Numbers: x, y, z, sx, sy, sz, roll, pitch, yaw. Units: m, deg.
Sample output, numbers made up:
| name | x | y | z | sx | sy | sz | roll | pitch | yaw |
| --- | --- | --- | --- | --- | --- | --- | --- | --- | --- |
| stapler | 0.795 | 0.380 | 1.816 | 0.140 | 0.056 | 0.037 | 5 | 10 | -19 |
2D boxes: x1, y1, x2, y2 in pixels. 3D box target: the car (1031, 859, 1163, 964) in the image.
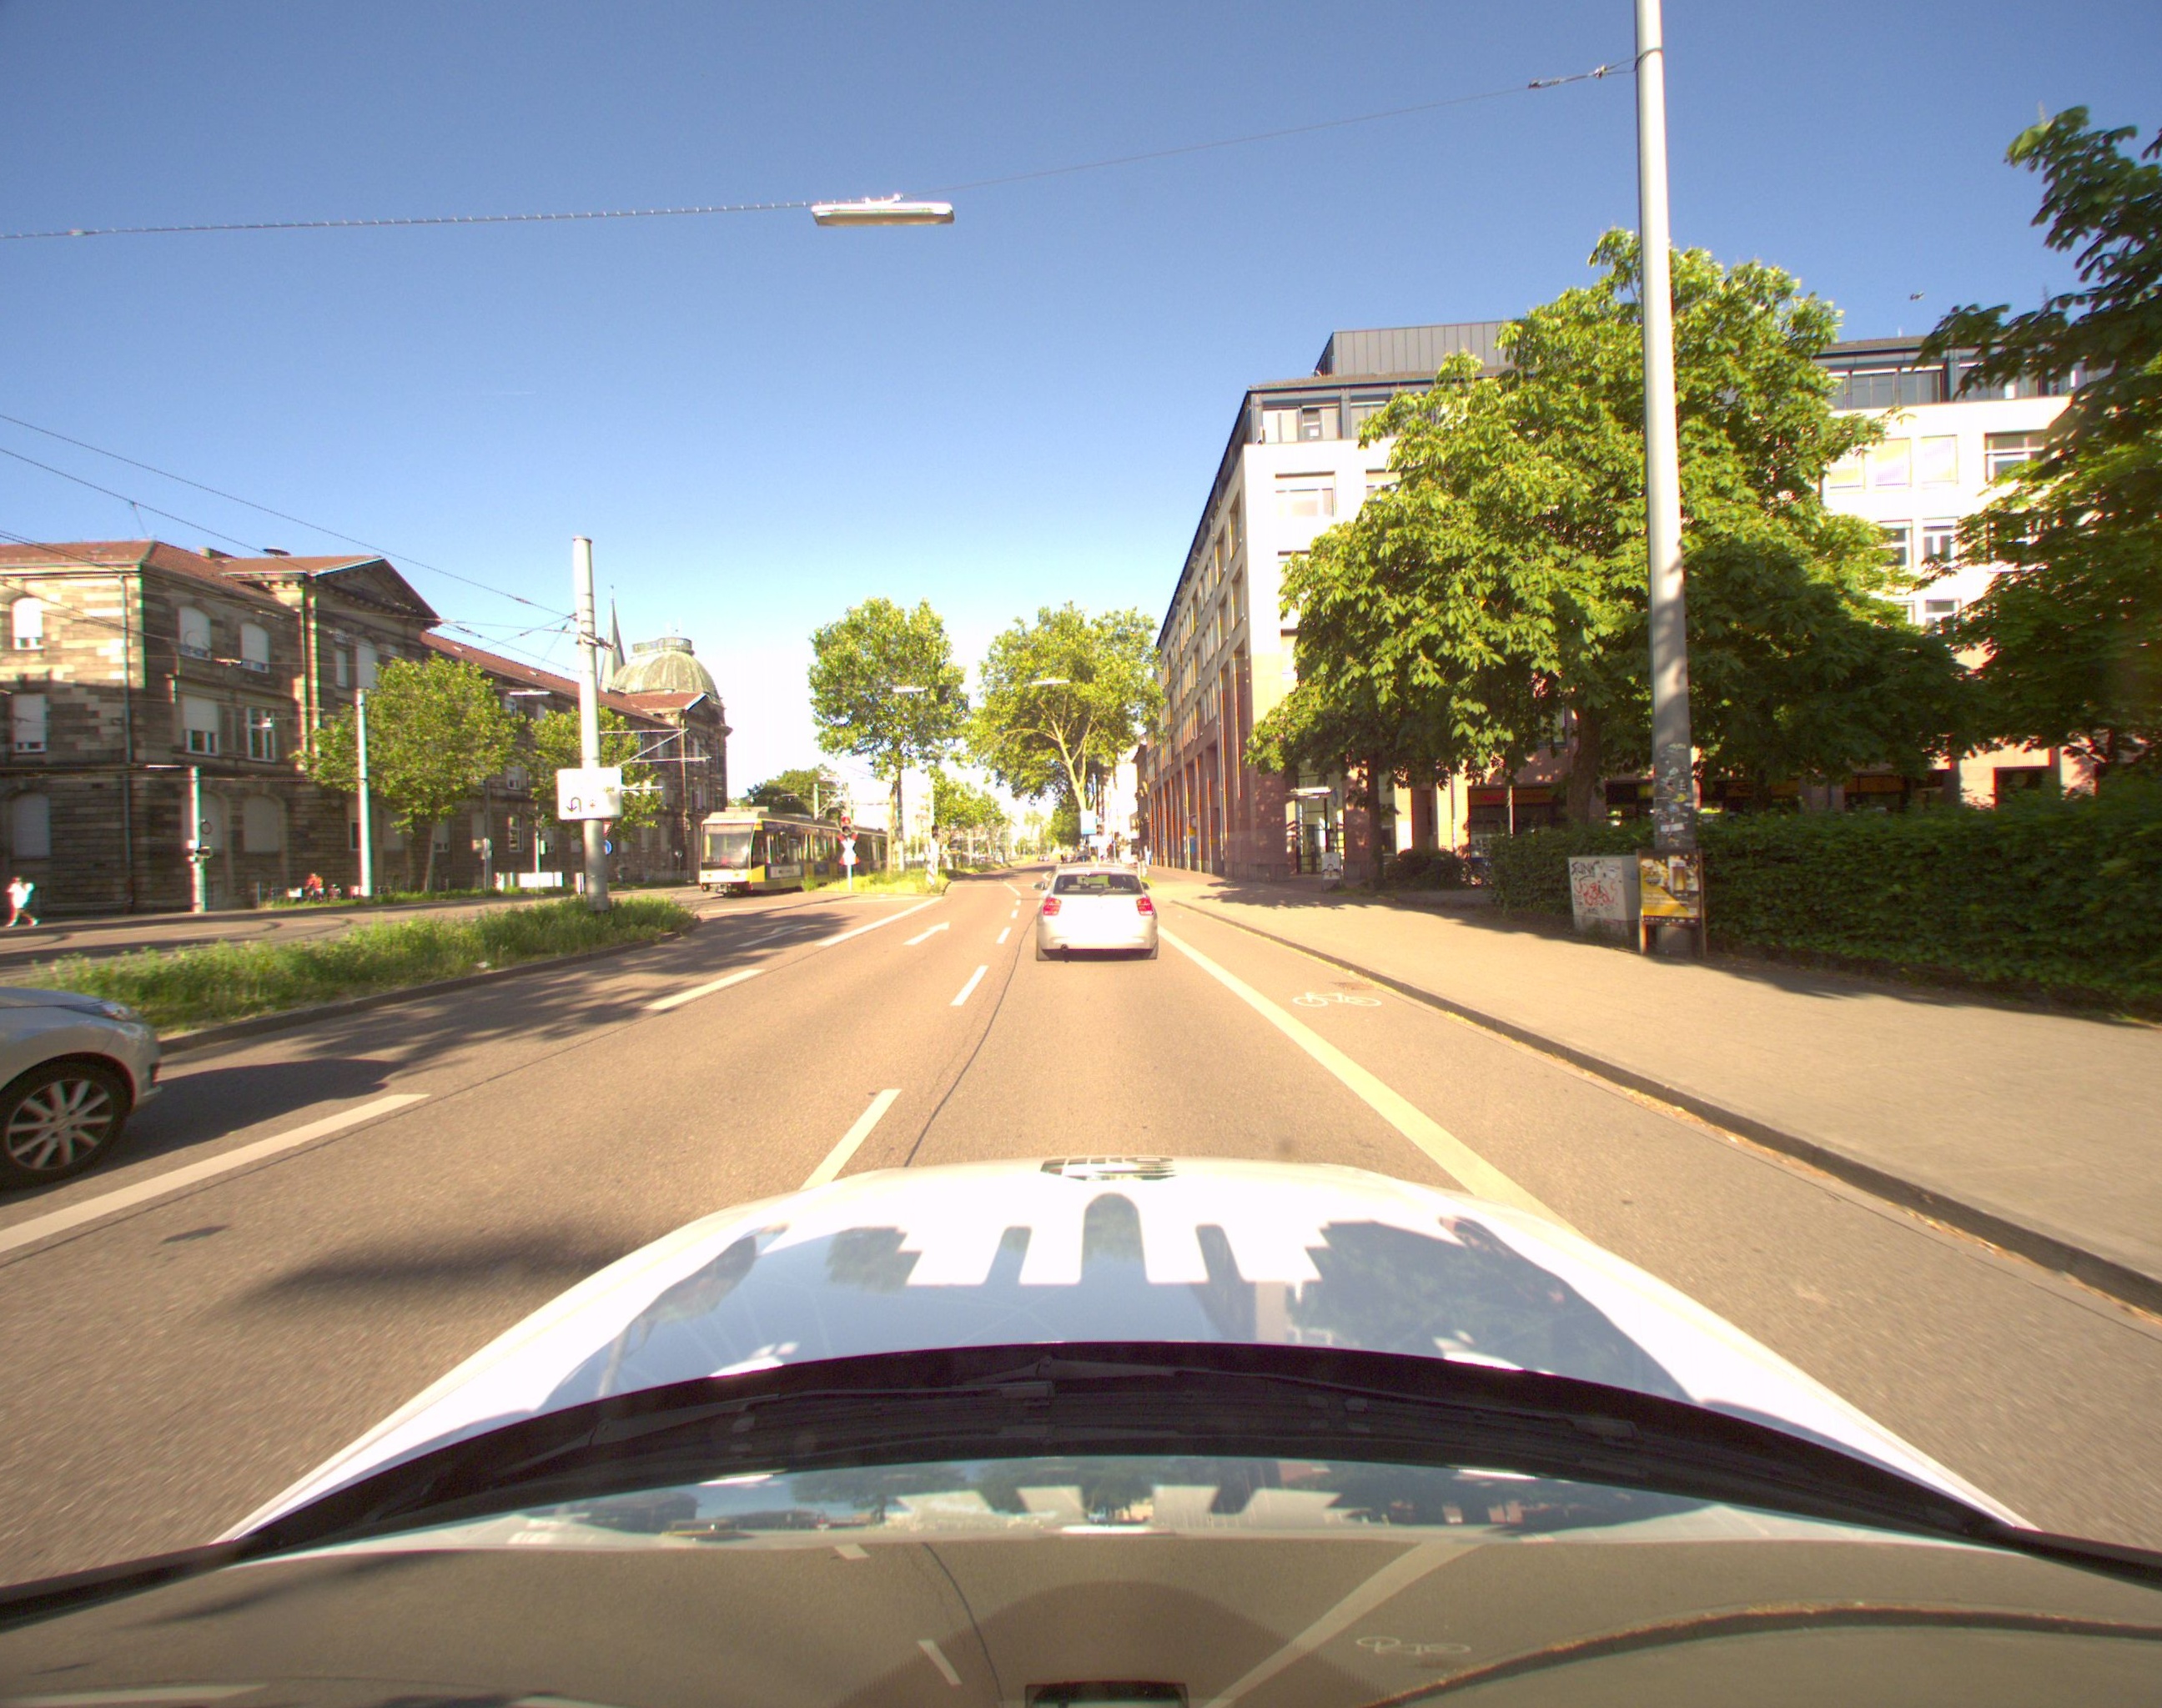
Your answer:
| name | x | y | z | sx | sy | sz | roll | pitch | yaw |
| --- | --- | --- | --- | --- | --- | --- | --- | --- | --- |
| car | 0.242 | 0.801 | 13.092 | 1.792 | 1.415 | 4.000 | 0 | 0 | 1 |

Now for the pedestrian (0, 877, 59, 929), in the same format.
| name | x | y | z | sx | sy | sz | roll | pitch | yaw |
| --- | --- | --- | --- | --- | --- | --- | --- | --- | --- |
| pedestrian | -37.589 | 1.720 | 29.083 | 0.859 | 1.800 | 1.002 | 0 | 0 | 1 |

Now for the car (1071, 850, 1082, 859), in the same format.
| name | x | y | z | sx | sy | sz | roll | pitch | yaw |
| --- | --- | --- | --- | --- | --- | --- | --- | --- | --- |
| car | -0.870 | 0.056 | 152.135 | 2.032 | 1.509 | 4.593 | -1 | 0 | 0 |

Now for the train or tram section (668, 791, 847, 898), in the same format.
| name | x | y | z | sx | sy | sz | roll | pitch | yaw |
| --- | --- | --- | --- | --- | --- | --- | --- | --- | --- |
| train or tram section | -13.541 | -0.307 | 36.110 | 2.922 | 3.812 | 14.257 | 0 | 0 | -3 |

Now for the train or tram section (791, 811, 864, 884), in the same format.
| name | x | y | z | sx | sy | sz | roll | pitch | yaw |
| --- | --- | --- | --- | --- | --- | --- | --- | --- | --- |
| train or tram section | -13.981 | -0.331 | 45.189 | 2.948 | 3.897 | 3.861 | 0 | 0 | -3 |

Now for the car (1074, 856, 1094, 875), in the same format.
| name | x | y | z | sx | sy | sz | roll | pitch | yaw |
| --- | --- | --- | --- | --- | --- | --- | --- | --- | --- |
| car | 0.277 | 0.977 | 69.171 | 1.662 | 1.570 | 4.280 | 0 | 0 | 1 |

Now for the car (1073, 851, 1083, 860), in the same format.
| name | x | y | z | sx | sy | sz | roll | pitch | yaw |
| --- | --- | --- | --- | --- | --- | --- | --- | --- | --- |
| car | -0.597 | 0.293 | 144.521 | 1.690 | 1.502 | 3.799 | -4 | 0 | -1 |

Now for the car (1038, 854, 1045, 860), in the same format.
| name | x | y | z | sx | sy | sz | roll | pitch | yaw |
| --- | --- | --- | --- | --- | --- | --- | --- | --- | --- |
| car | -9.672 | 0.727 | 200.086 | 1.723 | 1.470 | 4.405 | -1 | 0 | -3 |

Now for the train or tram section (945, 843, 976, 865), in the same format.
| name | x | y | z | sx | sy | sz | roll | pitch | yaw |
| --- | --- | --- | --- | --- | --- | --- | --- | --- | --- |
| train or tram section | -20.078 | -0.017 | 136.799 | 2.956 | 3.483 | 21.198 | 0 | 0 | -2 |

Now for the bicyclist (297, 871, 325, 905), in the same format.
| name | x | y | z | sx | sy | sz | roll | pitch | yaw |
| --- | --- | --- | --- | --- | --- | --- | --- | --- | --- |
| bicyclist | -37.286 | 1.644 | 39.456 | 0.875 | 1.624 | 0.668 | -1 | 0 | -35 |

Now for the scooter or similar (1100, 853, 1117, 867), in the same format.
| name | x | y | z | sx | sy | sz | roll | pitch | yaw |
| --- | --- | --- | --- | --- | --- | --- | --- | --- | --- |
| scooter or similar | 2.637 | 0.575 | 78.457 | 1.536 | 1.237 | 0.449 | -2 | 0 | -1 |

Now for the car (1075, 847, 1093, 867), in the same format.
| name | x | y | z | sx | sy | sz | roll | pitch | yaw |
| --- | --- | --- | --- | --- | --- | --- | --- | --- | --- |
| car | 0.274 | 0.305 | 85.727 | 1.851 | 2.014 | 4.722 | 0 | 0 | -1 |

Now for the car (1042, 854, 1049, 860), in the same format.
| name | x | y | z | sx | sy | sz | roll | pitch | yaw |
| --- | --- | --- | --- | --- | --- | --- | --- | --- | --- |
| car | -9.079 | 0.723 | 208.298 | 1.639 | 1.421 | 3.998 | 0 | 0 | -1 |

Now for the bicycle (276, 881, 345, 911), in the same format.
| name | x | y | z | sx | sy | sz | roll | pitch | yaw |
| --- | --- | --- | --- | --- | --- | --- | --- | --- | --- |
| bicycle | -37.314 | 2.004 | 39.462 | 2.360 | 1.389 | 0.521 | 0 | 0 | -35 |

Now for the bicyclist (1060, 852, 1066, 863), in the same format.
| name | x | y | z | sx | sy | sz | roll | pitch | yaw |
| --- | --- | --- | --- | --- | --- | --- | --- | --- | --- |
| bicyclist | -2.400 | 0.434 | 109.788 | 0.783 | 1.531 | 0.894 | 0 | 0 | -1 |

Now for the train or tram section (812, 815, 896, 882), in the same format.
| name | x | y | z | sx | sy | sz | roll | pitch | yaw |
| --- | --- | --- | --- | --- | --- | --- | --- | --- | --- |
| train or tram section | -14.351 | -0.311 | 52.555 | 2.946 | 3.897 | 10.790 | 0 | 0 | -3 |

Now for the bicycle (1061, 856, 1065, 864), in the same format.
| name | x | y | z | sx | sy | sz | roll | pitch | yaw |
| --- | --- | --- | --- | --- | --- | --- | --- | --- | --- |
| bicycle | -2.374 | 0.824 | 109.686 | 0.498 | 1.088 | 1.996 | 0 | 0 | -1 |

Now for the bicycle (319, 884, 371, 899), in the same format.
| name | x | y | z | sx | sy | sz | roll | pitch | yaw |
| --- | --- | --- | --- | --- | --- | --- | --- | --- | --- |
| bicycle | -37.694 | 1.932 | 41.746 | 1.905 | 0.722 | 0.522 | 0 | 0 | -27 |

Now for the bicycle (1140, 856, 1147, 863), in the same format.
| name | x | y | z | sx | sy | sz | roll | pitch | yaw |
| --- | --- | --- | --- | --- | --- | --- | --- | --- | --- |
| bicycle | 7.278 | 0.584 | 94.663 | 0.547 | 0.773 | 1.662 | -3 | 0 | -1 |

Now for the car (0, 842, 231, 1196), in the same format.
| name | x | y | z | sx | sy | sz | roll | pitch | yaw |
| --- | --- | --- | --- | --- | --- | --- | --- | --- | --- |
| car | -5.658 | 0.741 | 2.718 | 1.658 | 1.595 | 3.859 | 0 | 0 | -3 |

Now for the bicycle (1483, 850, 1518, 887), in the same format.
| name | x | y | z | sx | sy | sz | roll | pitch | yaw |
| --- | --- | --- | --- | --- | --- | --- | --- | --- | --- |
| bicycle | 12.180 | 0.404 | 23.700 | 0.415 | 0.997 | 2.231 | -2 | -1 | 15 |

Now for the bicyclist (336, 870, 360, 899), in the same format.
| name | x | y | z | sx | sy | sz | roll | pitch | yaw |
| --- | --- | --- | --- | --- | --- | --- | --- | --- | --- |
| bicyclist | -37.619 | 1.559 | 41.810 | 0.732 | 1.462 | 0.790 | 0 | 0 | -26 |
